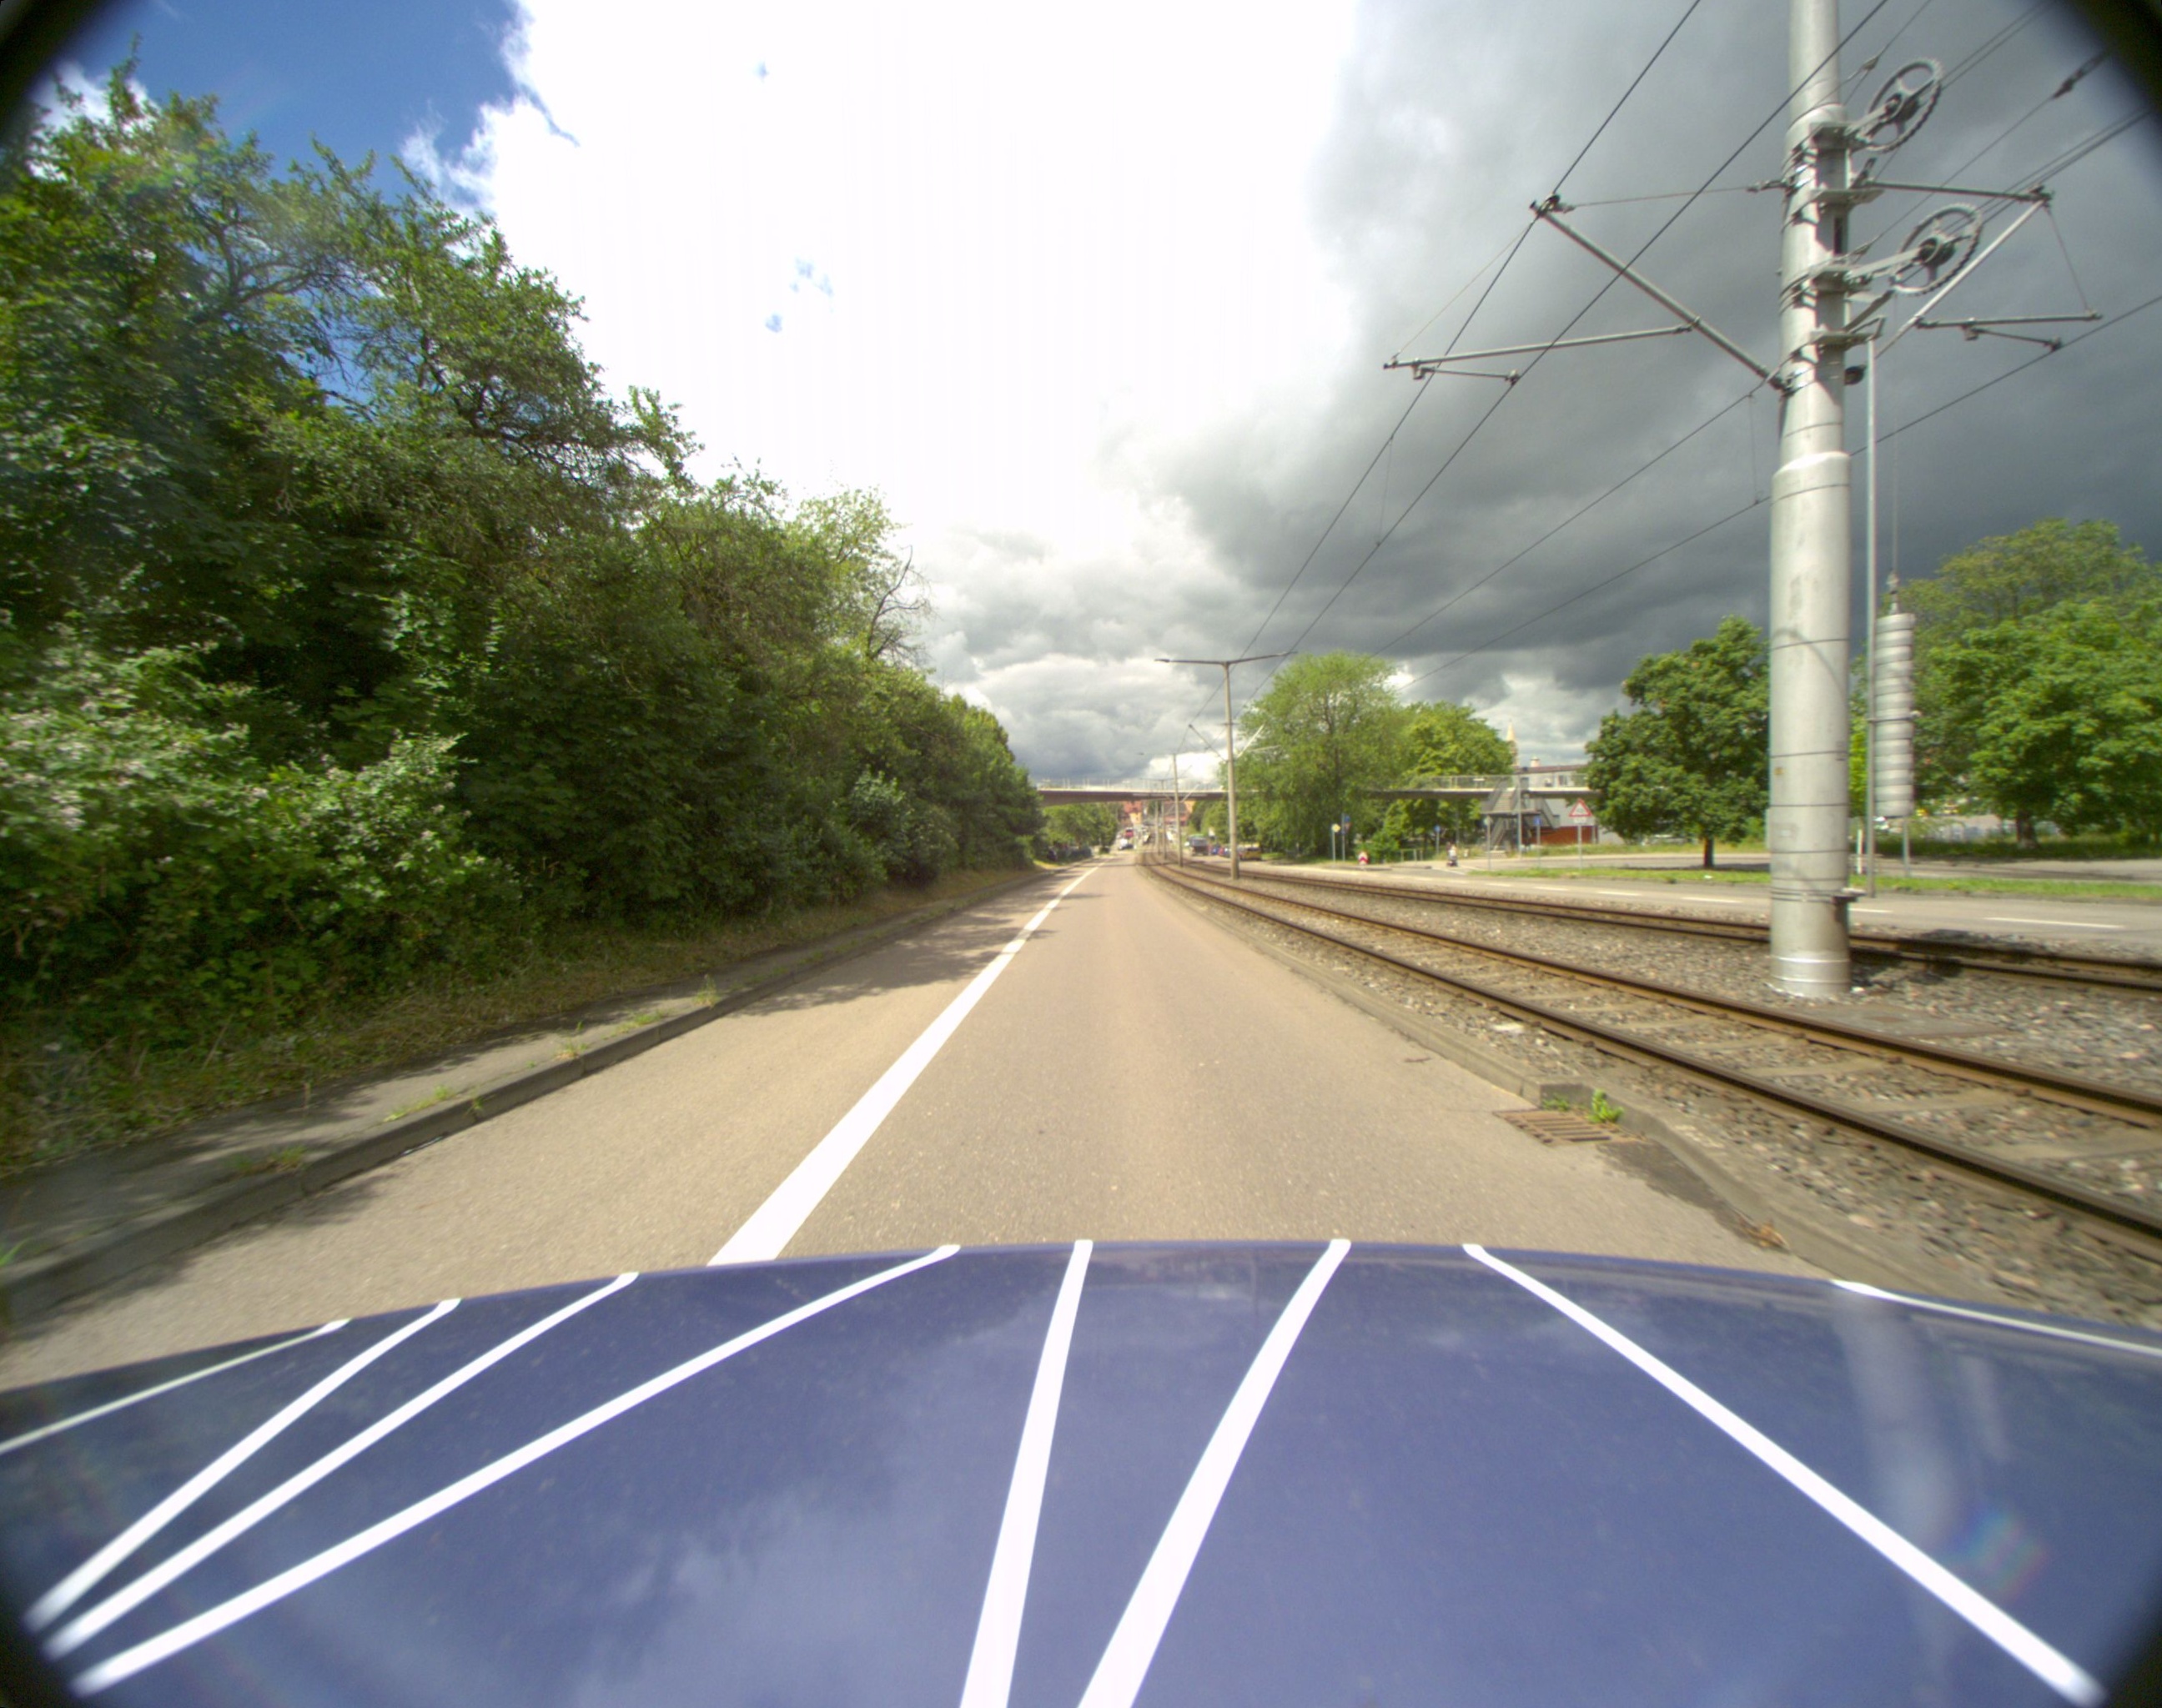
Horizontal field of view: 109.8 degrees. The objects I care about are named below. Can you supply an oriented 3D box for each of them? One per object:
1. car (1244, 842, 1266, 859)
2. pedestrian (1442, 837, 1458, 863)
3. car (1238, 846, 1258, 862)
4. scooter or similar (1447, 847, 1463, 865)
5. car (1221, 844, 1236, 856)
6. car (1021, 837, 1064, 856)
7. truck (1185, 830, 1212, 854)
[{"bbox_3d":[17.866,-0.415,78.174,1.692,1.442,3.898,-4,3,6],"label":"car"},{"bbox_3d":[25.102,-0.275,51.704,0.662,1.746,0.718,-4,3,6],"label":"pedestrian"},{"bbox_3d":[18.130,-0.033,82.602,1.692,1.442,3.898,-4,3,6],"label":"car"},{"bbox_3d":[24.949,0.107,50.667,0.712,1.141,0.788,-4,3,7],"label":"scooter or similar"},{"bbox_3d":[19.330,-0.530,99.530,1.560,1.587,4.161,-1,1,6],"label":"car"},{"bbox_3d":[-4.316,-0.854,85.893,4.533,1.662,2.000,6,4,5],"label":"car"},{"bbox_3d":[17.449,-1.857,112.985,2.878,3.301,9.029,-4,2,3],"label":"truck"}]
